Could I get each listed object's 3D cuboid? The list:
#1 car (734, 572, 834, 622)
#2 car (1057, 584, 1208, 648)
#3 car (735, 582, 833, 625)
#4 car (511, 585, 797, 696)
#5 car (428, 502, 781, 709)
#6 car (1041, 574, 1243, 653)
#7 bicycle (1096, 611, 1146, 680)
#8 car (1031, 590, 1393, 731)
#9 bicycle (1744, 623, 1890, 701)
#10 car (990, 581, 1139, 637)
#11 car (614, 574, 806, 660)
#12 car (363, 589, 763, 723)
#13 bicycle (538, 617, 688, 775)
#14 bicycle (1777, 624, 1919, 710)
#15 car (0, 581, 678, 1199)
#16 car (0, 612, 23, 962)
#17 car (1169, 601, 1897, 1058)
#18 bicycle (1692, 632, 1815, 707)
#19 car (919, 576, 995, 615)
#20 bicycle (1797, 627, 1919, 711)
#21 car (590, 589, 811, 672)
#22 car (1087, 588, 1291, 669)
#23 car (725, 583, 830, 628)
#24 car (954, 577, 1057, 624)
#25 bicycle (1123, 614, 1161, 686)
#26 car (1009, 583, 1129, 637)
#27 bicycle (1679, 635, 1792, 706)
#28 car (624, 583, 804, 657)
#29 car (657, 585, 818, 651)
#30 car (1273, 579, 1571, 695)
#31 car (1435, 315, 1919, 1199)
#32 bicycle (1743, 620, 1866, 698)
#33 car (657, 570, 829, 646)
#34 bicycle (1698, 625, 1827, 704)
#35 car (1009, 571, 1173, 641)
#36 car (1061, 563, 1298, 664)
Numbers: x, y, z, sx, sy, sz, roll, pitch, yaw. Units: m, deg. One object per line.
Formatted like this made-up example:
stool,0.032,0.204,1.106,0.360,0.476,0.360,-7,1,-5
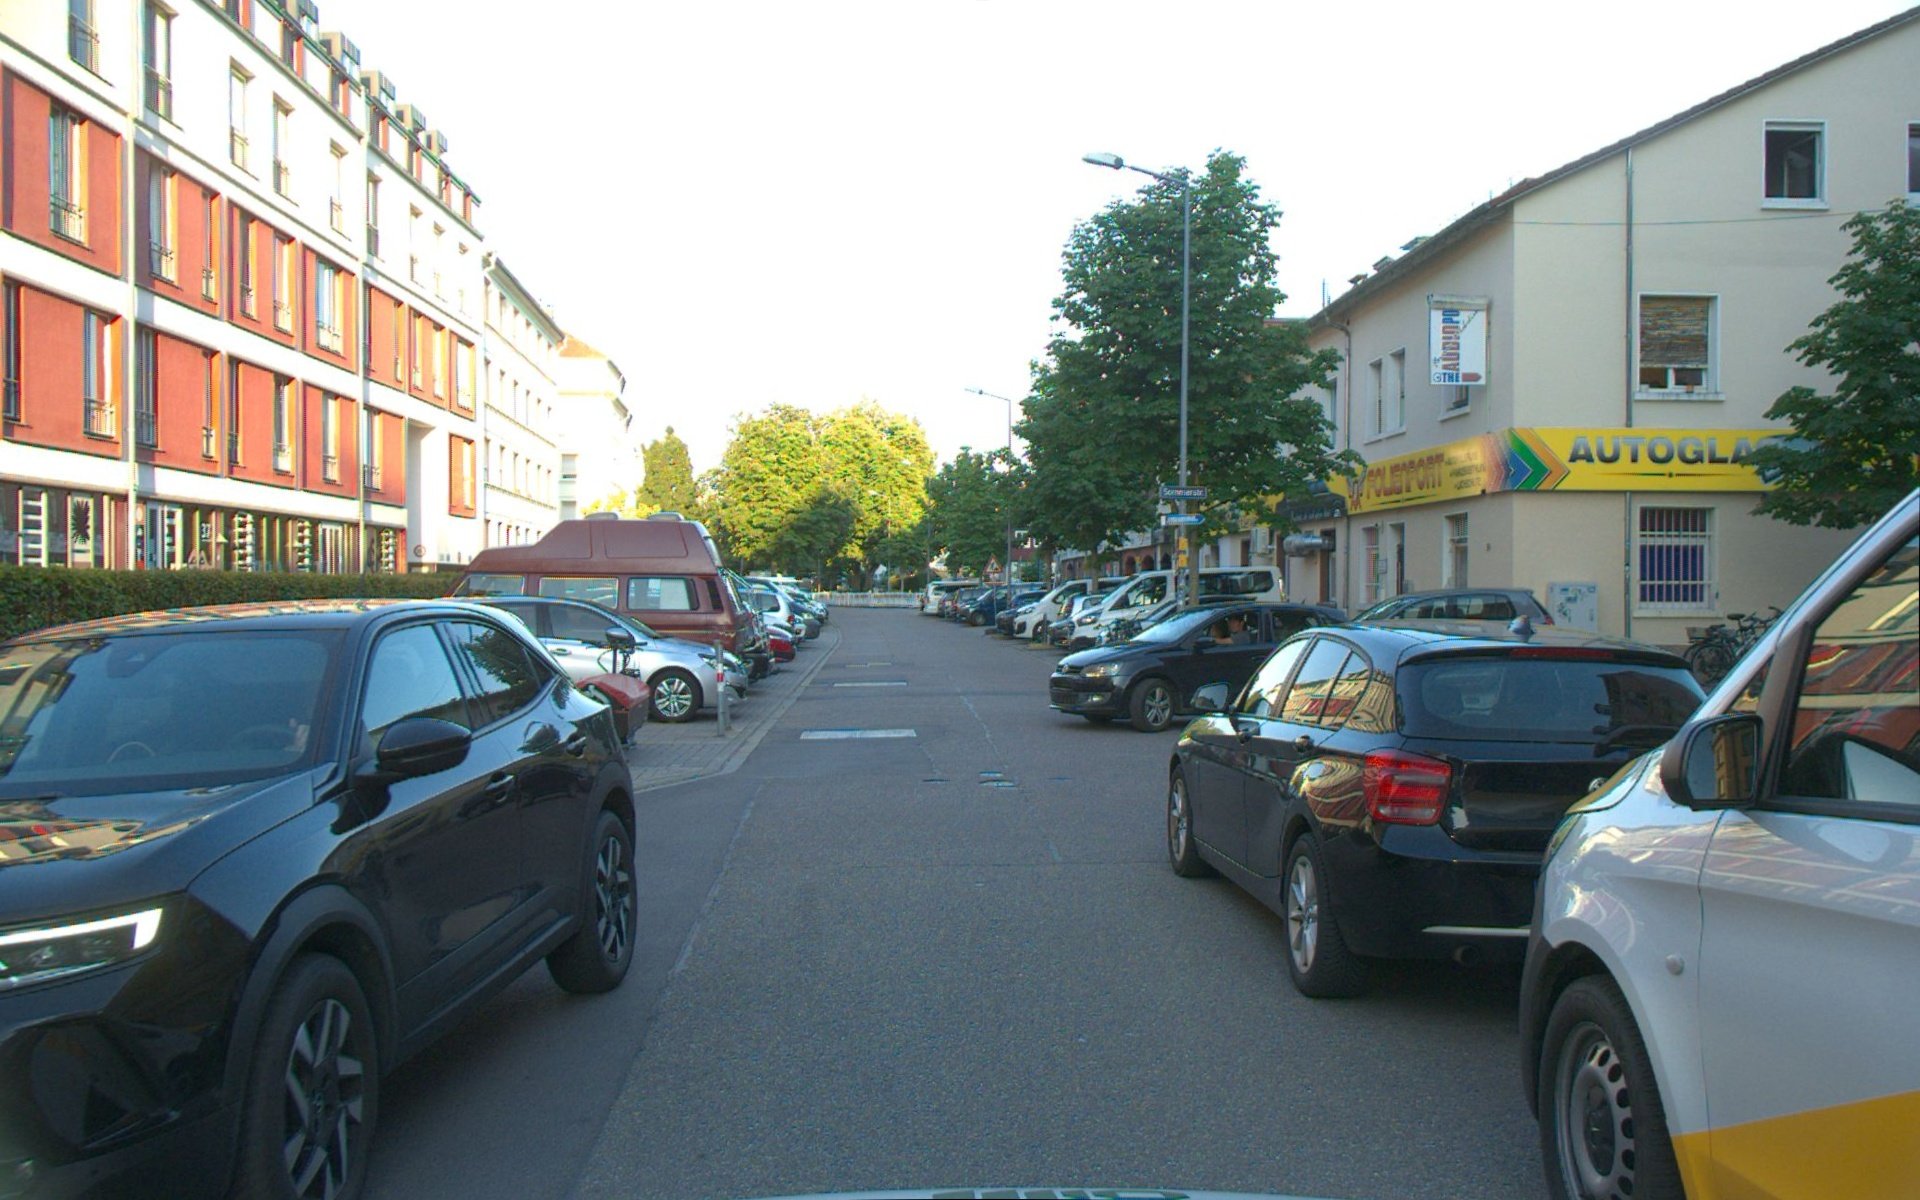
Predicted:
car,-8.080,-0.125,76.314,4.443,2.171,1.999,1,0,-3
car,4.639,0.424,44.884,3.833,1.552,1.938,-2,0,-2
car,-7.826,0.139,73.688,4.171,1.780,1.999,1,0,-3
car,-4.633,0.597,25.523,4.126,1.565,1.789,1,0,-4
car,-4.819,0.070,22.944,4.420,2.629,2.000,1,0,-1
car,4.596,0.329,42.248,4.844,1.772,2.049,-2,0,-2
bicycle,2.878,0.794,29.694,0.430,1.150,2.014,-1,0,-8
car,2.926,0.646,19.305,3.868,1.480,1.649,-1,1,-19
bicycle,12.059,0.869,23.302,1.812,1.028,0.428,1,2,-1
car,3.564,0.300,56.971,4.847,1.718,2.075,-2,0,-4
car,-5.754,0.382,38.509,4.171,1.868,1.999,1,0,-3
car,-4.747,0.660,20.369,4.526,1.486,1.878,1,0,-6
bicycle,-3.109,0.811,15.141,0.791,1.243,2.865,1,0,-1
bicycle,12.181,0.914,22.666,1.884,1.148,0.427,1,1,-11
car,-2.224,0.743,4.950,1.742,1.544,4.002,-1,0,5
car,-4.915,0.839,5.466,1.618,1.557,4.013,1,0,-5
car,2.167,0.765,7.577,1.687,1.449,4.251,1,0,-3
bicycle,12.014,1.049,25.055,1.697,1.088,0.343,1,2,-4
car,-0.181,-0.235,89.903,3.893,1.945,2.046,-2,0,-7
bicycle,12.215,0.925,22.224,1.816,1.093,0.427,1,2,-11
car,-5.124,0.590,33.114,4.124,1.516,1.849,1,0,-2
car,4.685,0.557,34.117,3.842,1.476,1.766,-2,1,-5
car,-7.571,0.212,68.924,4.171,1.744,1.999,1,0,-3
car,2.042,0.011,74.550,4.394,1.945,1.685,-2,0,-7
bicycle,3.282,0.887,29.899,0.378,1.221,2.016,-1,0,-2
car,4.043,0.345,61.903,4.232,1.835,1.809,-2,0,-4
bicycle,11.902,1.087,25.400,1.570,1.037,0.343,1,2,-4
car,-6.040,0.474,40.971,4.171,1.689,1.999,1,0,-3
car,-6.046,0.475,45.328,4.171,1.681,1.887,1,0,-3
car,6.869,0.525,24.850,3.968,1.540,1.756,-1,2,-2
car,2.387,0.540,2.143,1.855,1.917,5.079,1,0,-3
bicycle,12.159,0.845,23.834,1.570,1.059,0.343,1,2,-1
car,-6.223,0.222,47.877,4.753,2.056,1.905,1,0,-3
bicycle,12.590,1.010,25.953,1.822,1.169,0.343,1,2,-1
car,4.097,0.181,52.122,4.847,1.992,2.047,-2,0,-4
car,4.834,0.281,36.911,4.890,2.018,2.219,-2,0,-2
